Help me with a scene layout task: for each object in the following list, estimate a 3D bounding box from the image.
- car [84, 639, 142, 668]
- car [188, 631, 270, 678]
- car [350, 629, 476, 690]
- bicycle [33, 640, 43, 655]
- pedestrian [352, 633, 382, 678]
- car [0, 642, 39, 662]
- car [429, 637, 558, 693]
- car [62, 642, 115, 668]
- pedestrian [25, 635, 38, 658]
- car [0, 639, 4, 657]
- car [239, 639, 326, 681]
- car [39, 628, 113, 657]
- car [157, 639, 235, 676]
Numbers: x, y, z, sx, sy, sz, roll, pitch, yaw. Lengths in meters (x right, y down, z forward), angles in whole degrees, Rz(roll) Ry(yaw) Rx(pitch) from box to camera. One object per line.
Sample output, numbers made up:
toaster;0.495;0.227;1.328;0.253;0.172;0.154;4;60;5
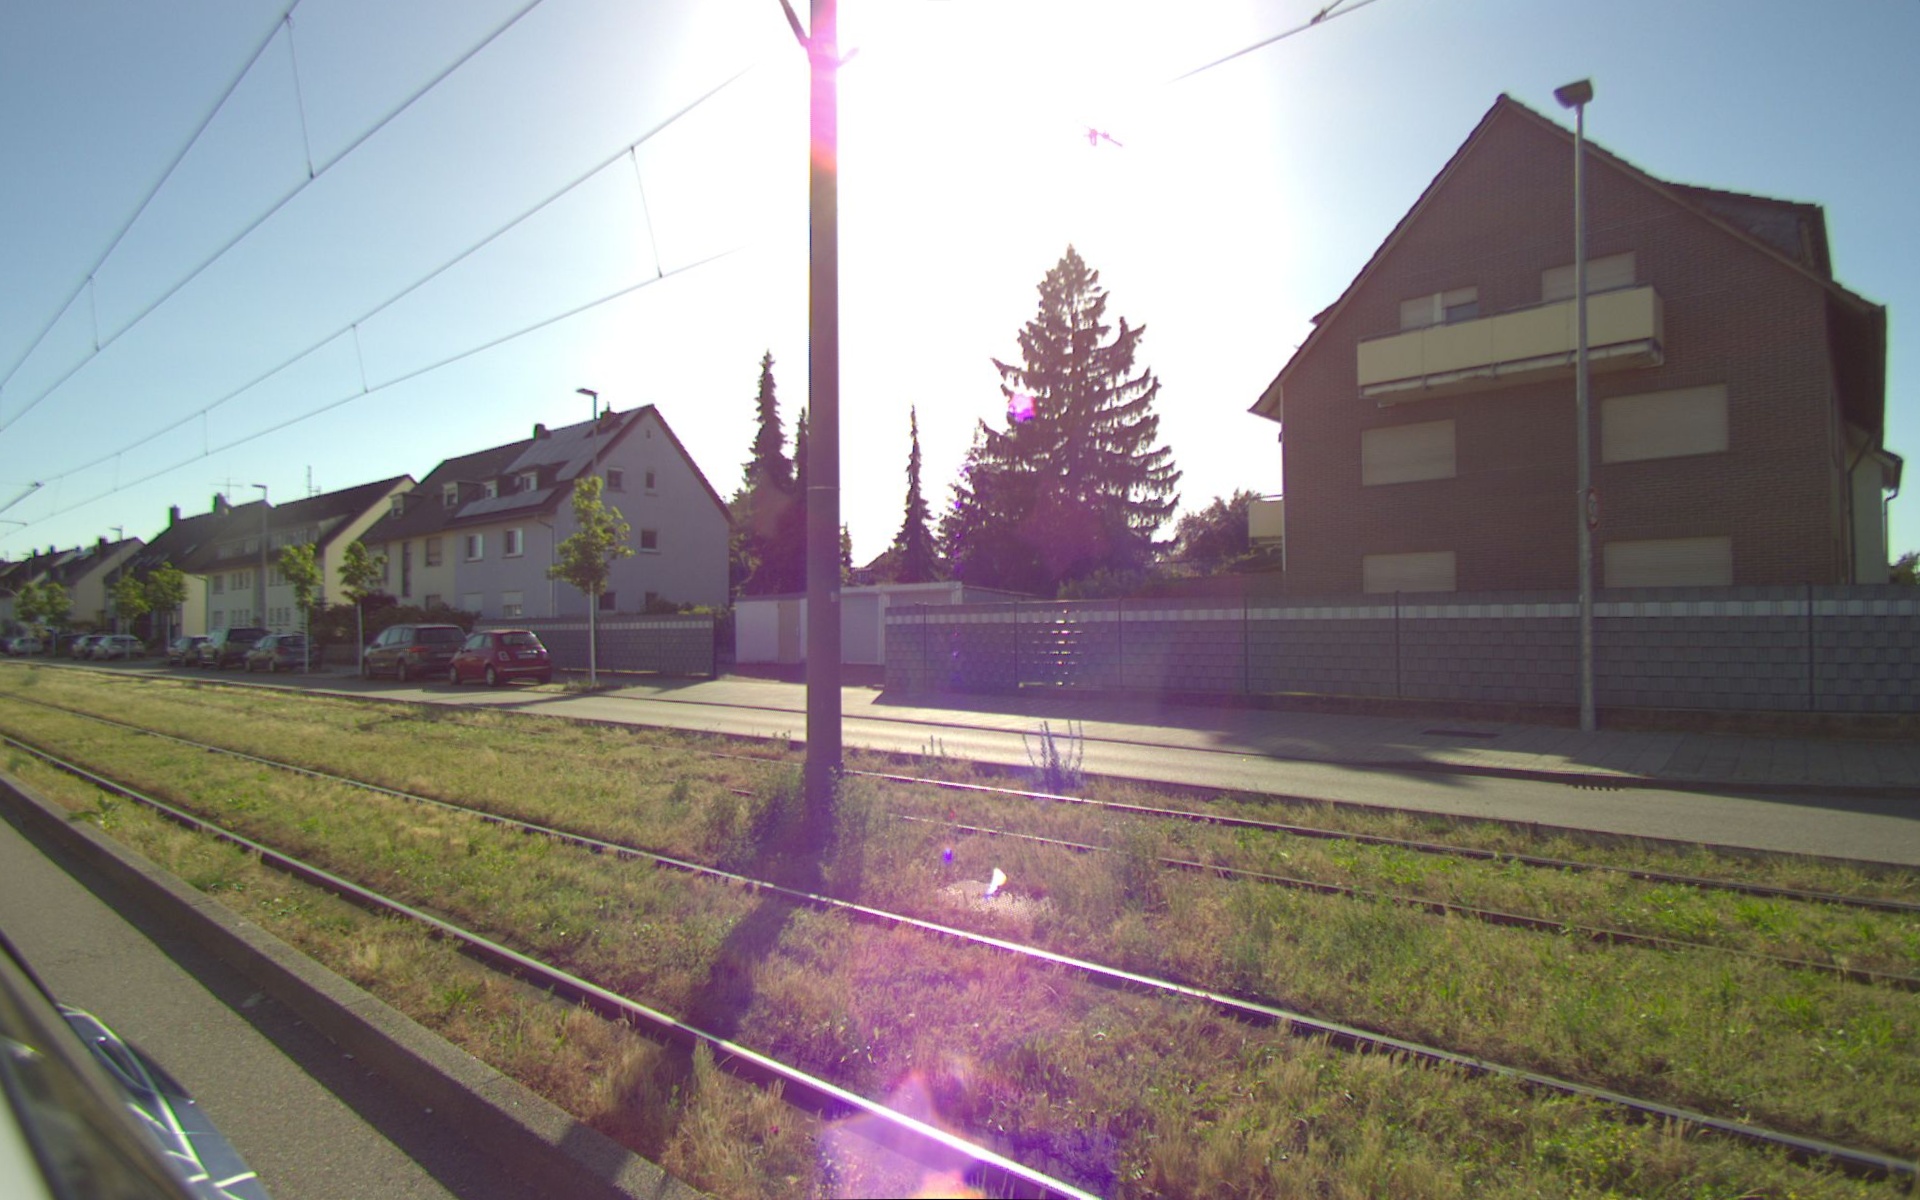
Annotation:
car;-48.766;3.058;58.218;4.436;1.486;1.672;-1;0;38
car;-31.597;2.323;43.690;4.837;1.837;1.727;-2;0;40
car;-17.063;1.794;31.455;4.842;1.697;1.801;-2;0;40
bicycle;-75.189;3.838;82.504;1.872;1.172;0.472;-1;-1;45
pedestrian;-22.633;2.105;38.649;0.918;1.652;0.689;-1;-1;38
car;-71.288;3.895;76.663;4.097;1.447;1.642;-2;-2;38
car;-12.941;1.752;27.985;4.076;1.415;1.678;-2;-3;41
car;-53.500;3.352;62.095;4.309;1.484;1.672;-1;0;38
pedestrian;-75.347;3.793;82.157;0.676;1.829;0.611;-1;-1;30
car;-81.244;4.042;84.510;4.081;1.523;1.603;-2;-1;40
car;-26.814;2.344;39.992;4.044;1.502;1.660;-2;0;38
car;-74.739;3.544;85.569;1.785;2.096;4.417;-1;1;39
car;-36.005;2.664;47.659;4.552;1.552;1.941;-1;0;40
